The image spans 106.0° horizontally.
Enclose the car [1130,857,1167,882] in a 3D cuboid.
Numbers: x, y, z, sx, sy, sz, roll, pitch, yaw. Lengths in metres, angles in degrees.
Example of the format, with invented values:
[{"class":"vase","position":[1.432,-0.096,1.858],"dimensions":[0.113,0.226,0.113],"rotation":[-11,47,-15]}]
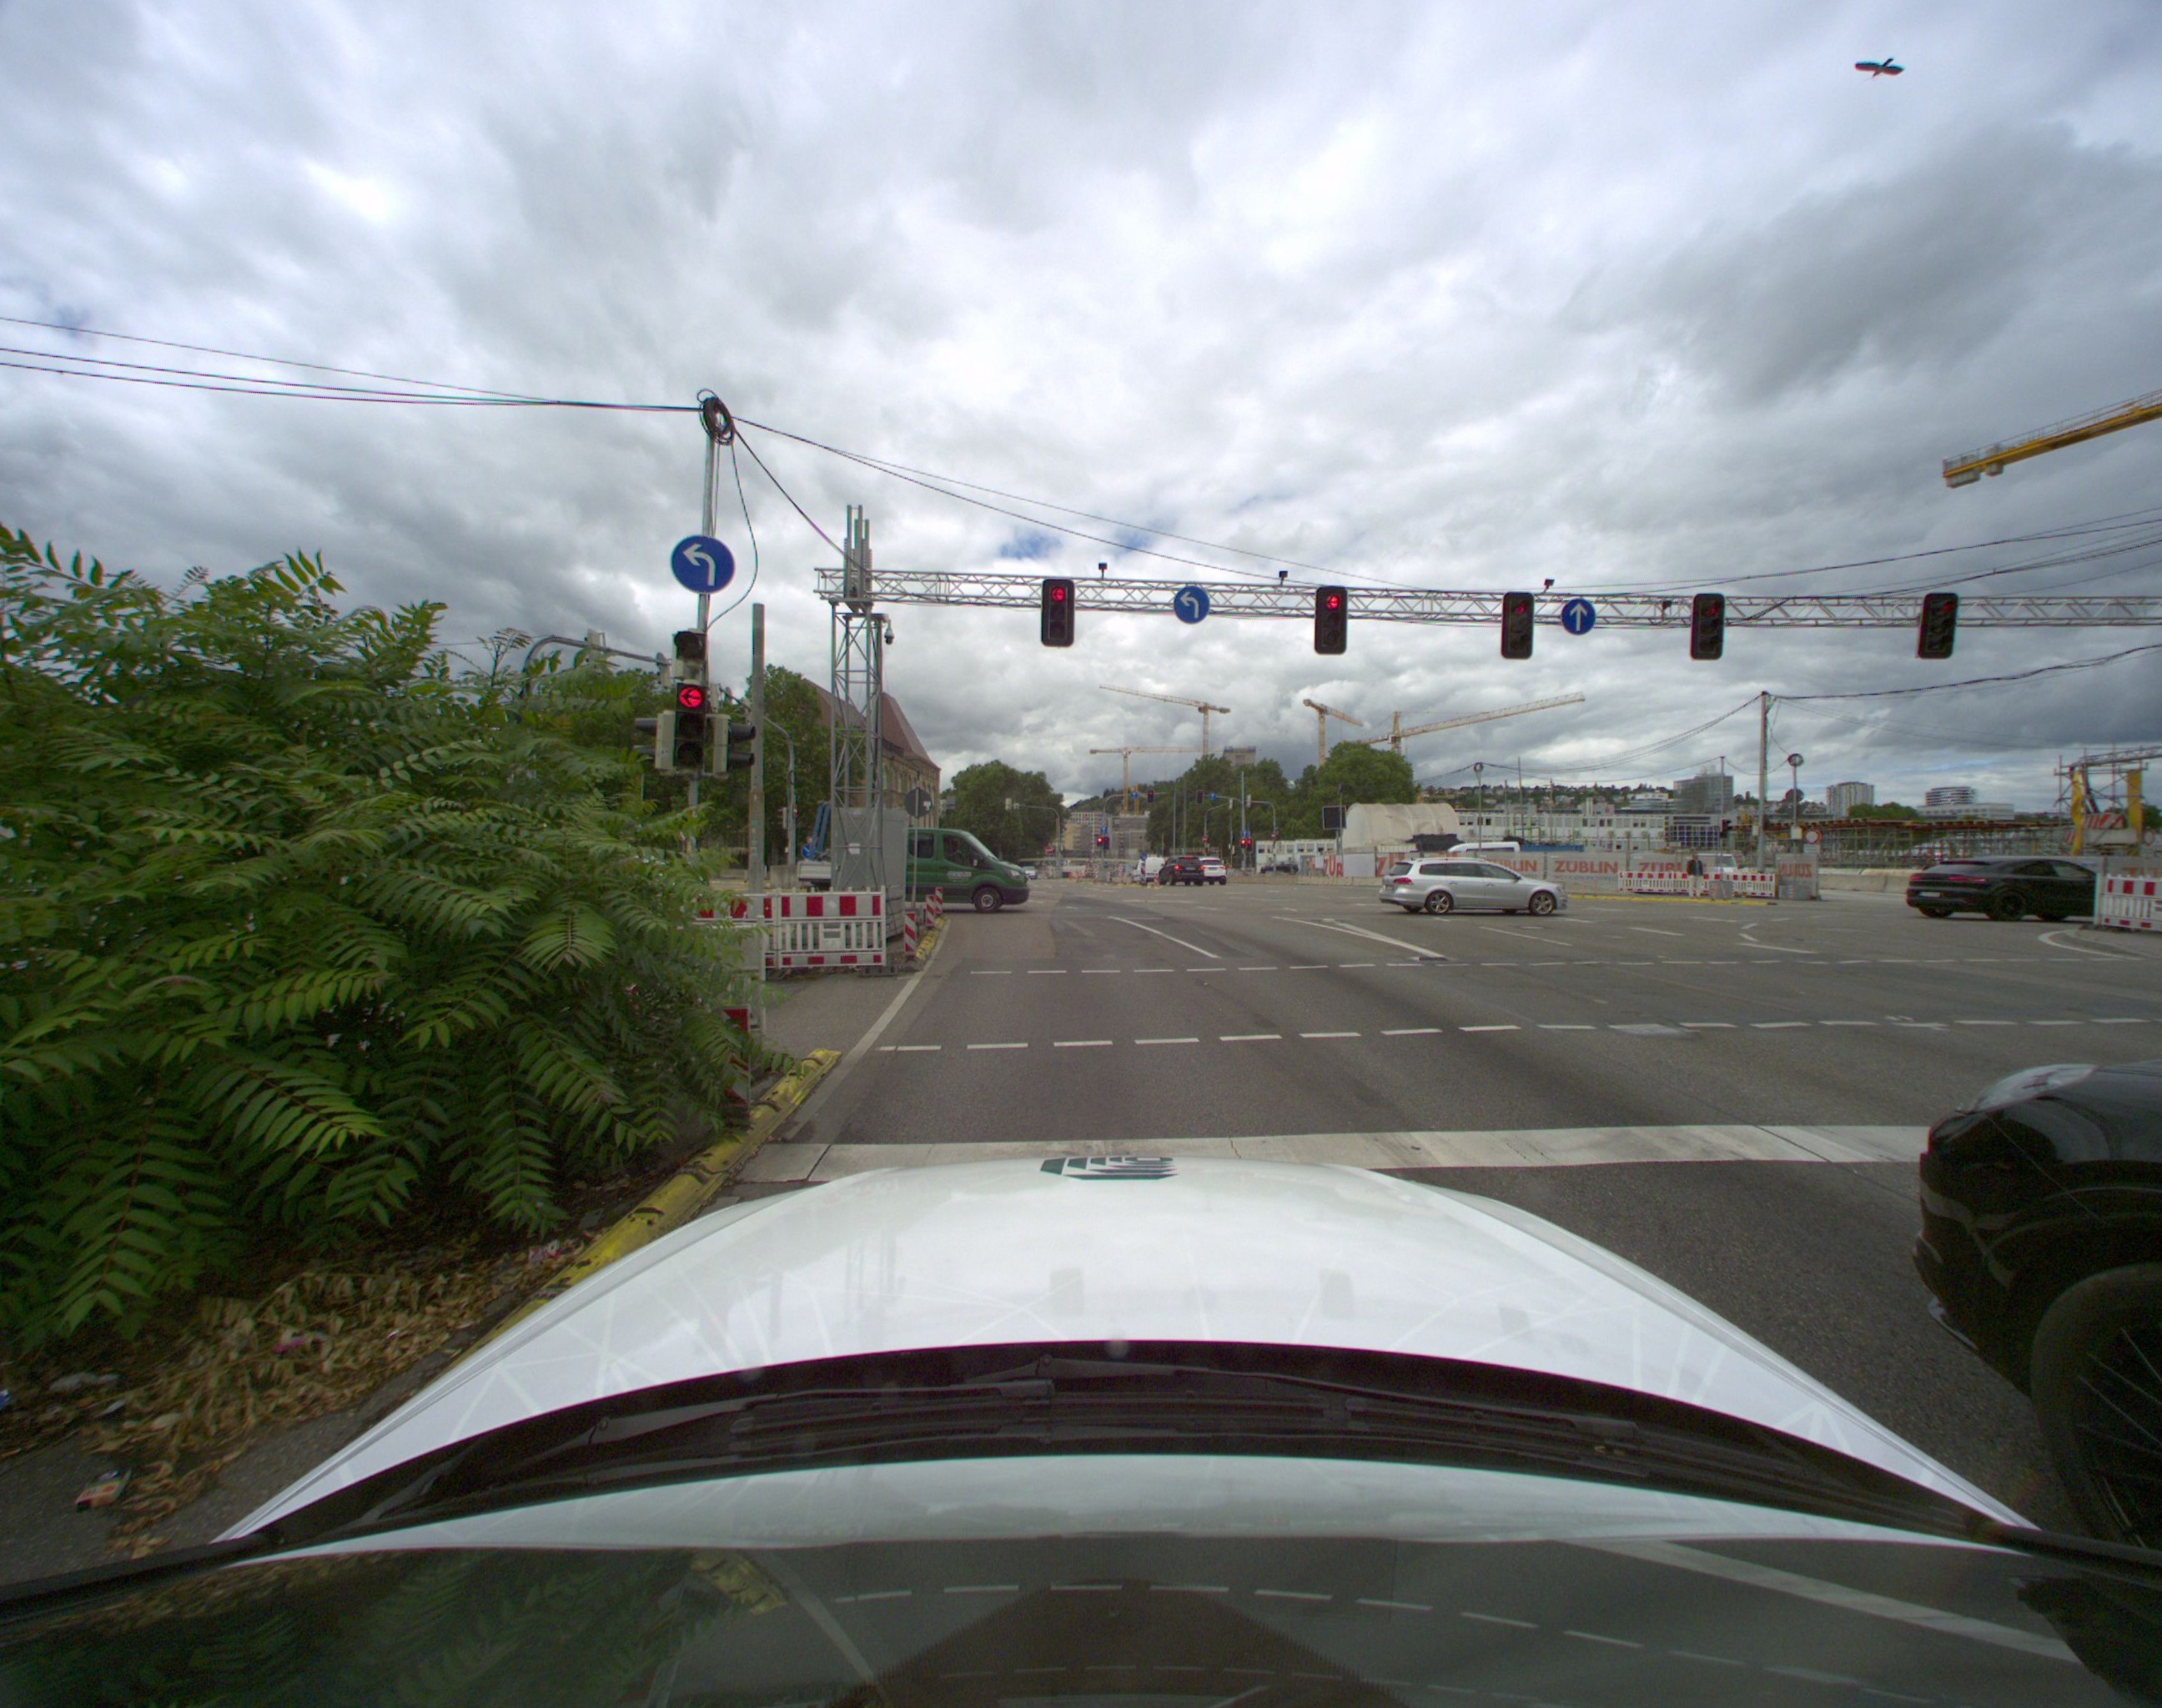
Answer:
[{"class":"car","position":[4.572,1.016,55.576],"dimensions":[1.814,1.625,3.992],"rotation":[0,-1,-5]}]

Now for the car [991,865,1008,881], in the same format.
[{"class":"car","position":[-8.473,1.996,85.090],"dimensions":[1.673,1.580,3.677],"rotation":[0,-1,-4]}]

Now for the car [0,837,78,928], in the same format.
[{"class":"car","position":[-22.560,0.530,16.010],"dimensions":[3.962,1.745,1.843],"rotation":[0,1,10]}]

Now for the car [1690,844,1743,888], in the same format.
[{"class":"car","position":[30.137,0.555,38.696],"dimensions":[1.755,1.954,3.146],"rotation":[-1,-1,34]}]

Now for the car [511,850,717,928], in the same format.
[{"class":"car","position":[-12.026,0.865,21.234],"dimensions":[4.262,1.882,1.826],"rotation":[0,-1,-7]}]

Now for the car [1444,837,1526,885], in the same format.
[{"class":"car","position":[23.235,0.417,46.970],"dimensions":[3.957,2.662,1.688],"rotation":[-1,-1,15]}]

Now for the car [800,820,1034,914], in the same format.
[{"class":"car","position":[-4.157,0.326,21.522],"dimensions":[5.745,2.305,2.301],"rotation":[0,-1,-3]}]

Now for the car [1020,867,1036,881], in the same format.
[{"class":"car","position":[-5.577,2.067,85.324],"dimensions":[1.673,1.398,3.677],"rotation":[0,-1,-4]}]

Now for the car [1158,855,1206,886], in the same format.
[{"class":"car","position":[5.964,0.938,48.491],"dimensions":[1.830,1.746,4.244],"rotation":[0,-1,-8]}]

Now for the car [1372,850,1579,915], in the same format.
[{"class":"car","position":[10.334,0.723,21.549],"dimensions":[4.695,1.625,1.681],"rotation":[0,-1,-1]}]

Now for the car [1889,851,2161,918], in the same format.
[{"class":"car","position":[24.287,0.759,21.006],"dimensions":[4.787,1.625,2.022],"rotation":[0,-1,3]}]

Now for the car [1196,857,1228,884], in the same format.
[{"class":"car","position":[8.484,1.053,52.998],"dimensions":[1.670,1.702,3.375],"rotation":[0,-1,2]}]

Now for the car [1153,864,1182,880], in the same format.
[{"class":"car","position":[8.026,1.677,75.957],"dimensions":[1.680,1.398,3.069],"rotation":[0,-1,-16]}]
